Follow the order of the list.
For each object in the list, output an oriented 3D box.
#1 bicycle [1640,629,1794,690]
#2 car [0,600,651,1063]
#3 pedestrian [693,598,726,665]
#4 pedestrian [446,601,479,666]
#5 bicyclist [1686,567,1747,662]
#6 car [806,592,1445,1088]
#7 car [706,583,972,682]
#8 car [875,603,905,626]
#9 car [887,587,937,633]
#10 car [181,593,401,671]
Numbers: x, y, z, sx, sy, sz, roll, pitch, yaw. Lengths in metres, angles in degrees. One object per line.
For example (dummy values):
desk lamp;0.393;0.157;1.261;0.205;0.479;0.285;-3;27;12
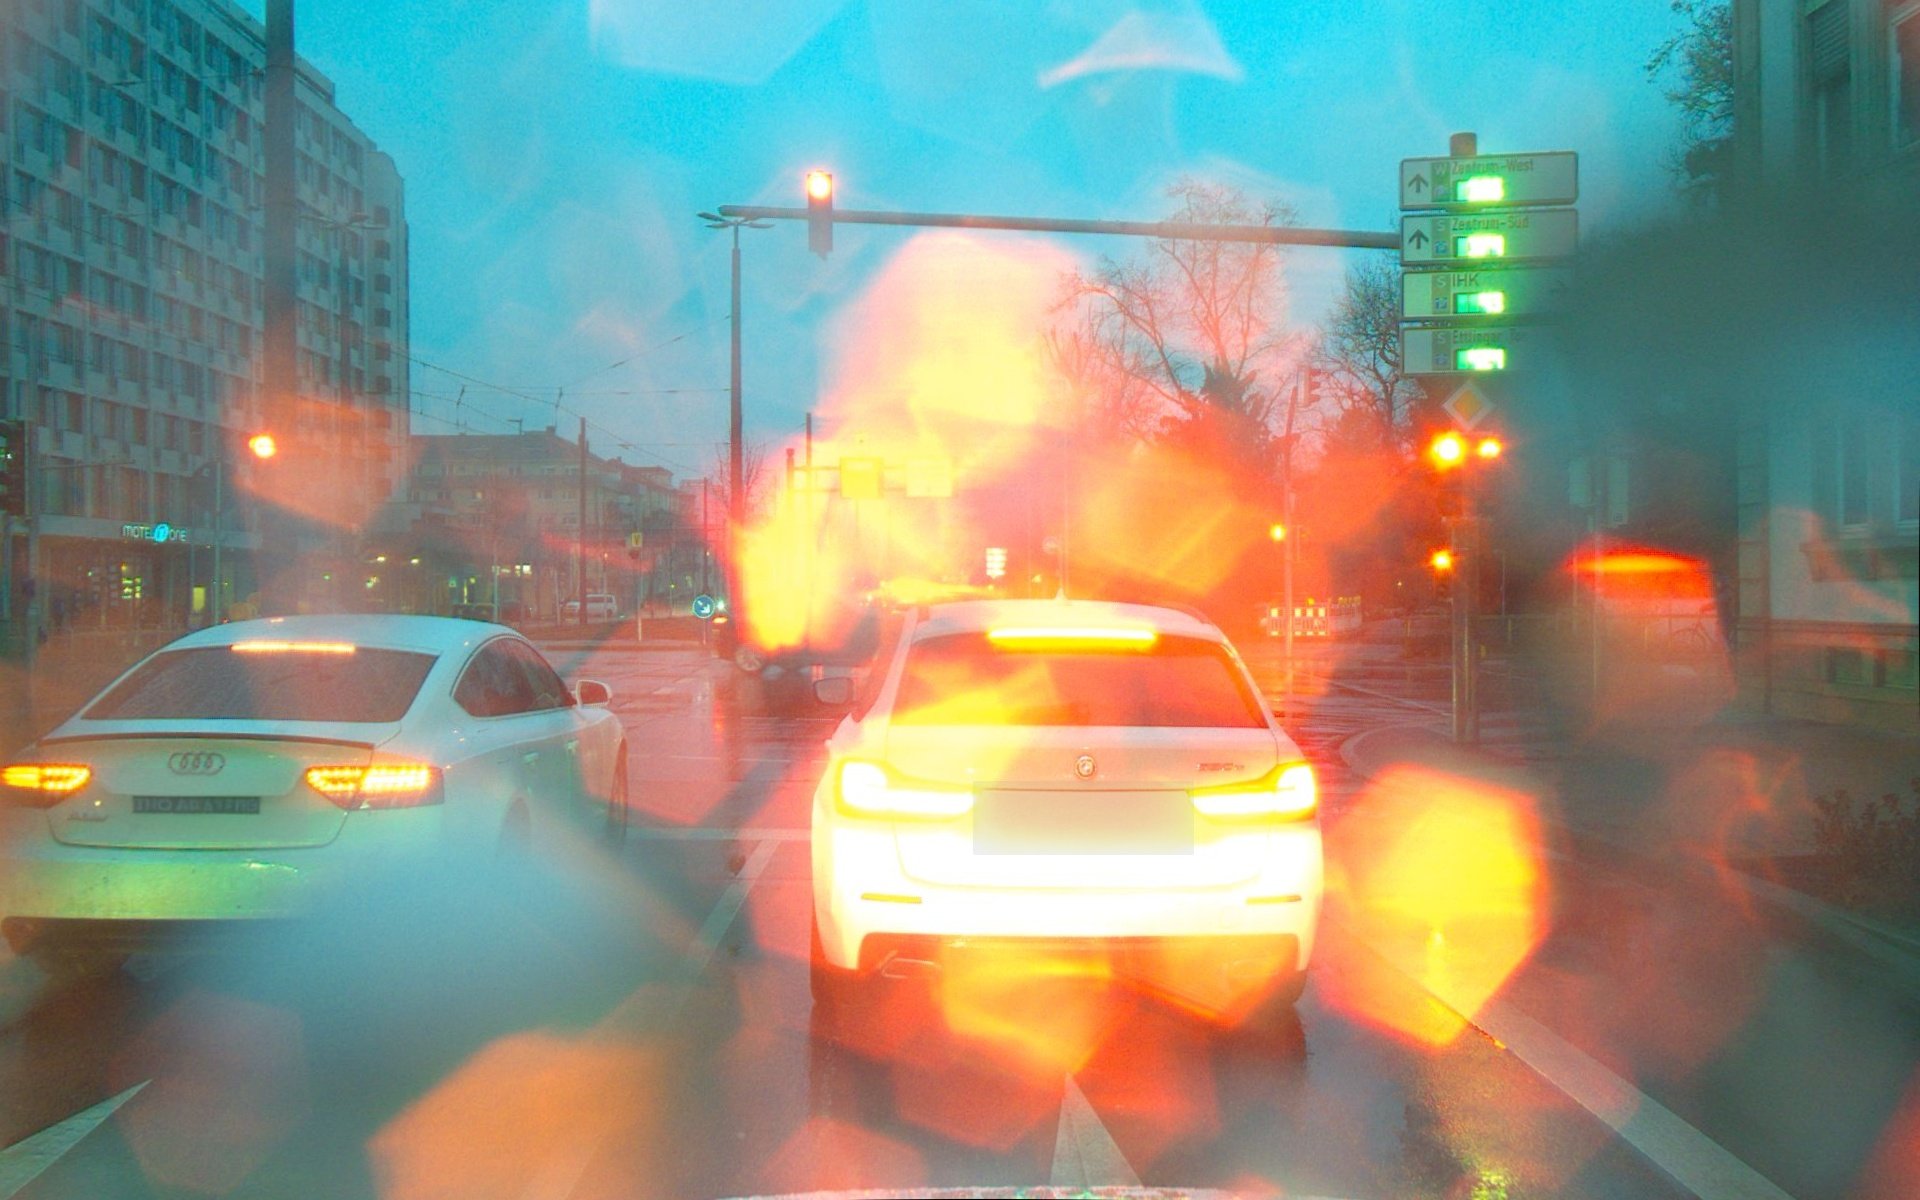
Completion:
bicycle;14.579;1.136;31.928;2.610;1.108;0.815;1;-1;16
car;-2.714;0.759;7.613;1.954;1.481;4.366;0;0;-3
pedestrian;-7.149;0.890;47.149;0.886;1.888;0.810;1;-1;-9
pedestrian;-13.454;0.911;44.751;0.777;1.741;0.809;1;-1;-16
bicyclist;14.598;0.275;31.949;0.951;1.789;0.814;1;-1;17
car;0.413;0.713;7.208;1.954;1.481;4.366;0;0;-3
car;-2.260;0.592;31.046;4.598;1.750;1.902;0;-1;20
car;-4.703;0.929;110.217;1.954;1.481;4.366;0;0;-3
car;-1.838;0.386;62.636;1.806;1.637;3.943;1;-1;-2
car;-14.562;0.681;36.065;4.221;1.557;1.764;1;-1;16
